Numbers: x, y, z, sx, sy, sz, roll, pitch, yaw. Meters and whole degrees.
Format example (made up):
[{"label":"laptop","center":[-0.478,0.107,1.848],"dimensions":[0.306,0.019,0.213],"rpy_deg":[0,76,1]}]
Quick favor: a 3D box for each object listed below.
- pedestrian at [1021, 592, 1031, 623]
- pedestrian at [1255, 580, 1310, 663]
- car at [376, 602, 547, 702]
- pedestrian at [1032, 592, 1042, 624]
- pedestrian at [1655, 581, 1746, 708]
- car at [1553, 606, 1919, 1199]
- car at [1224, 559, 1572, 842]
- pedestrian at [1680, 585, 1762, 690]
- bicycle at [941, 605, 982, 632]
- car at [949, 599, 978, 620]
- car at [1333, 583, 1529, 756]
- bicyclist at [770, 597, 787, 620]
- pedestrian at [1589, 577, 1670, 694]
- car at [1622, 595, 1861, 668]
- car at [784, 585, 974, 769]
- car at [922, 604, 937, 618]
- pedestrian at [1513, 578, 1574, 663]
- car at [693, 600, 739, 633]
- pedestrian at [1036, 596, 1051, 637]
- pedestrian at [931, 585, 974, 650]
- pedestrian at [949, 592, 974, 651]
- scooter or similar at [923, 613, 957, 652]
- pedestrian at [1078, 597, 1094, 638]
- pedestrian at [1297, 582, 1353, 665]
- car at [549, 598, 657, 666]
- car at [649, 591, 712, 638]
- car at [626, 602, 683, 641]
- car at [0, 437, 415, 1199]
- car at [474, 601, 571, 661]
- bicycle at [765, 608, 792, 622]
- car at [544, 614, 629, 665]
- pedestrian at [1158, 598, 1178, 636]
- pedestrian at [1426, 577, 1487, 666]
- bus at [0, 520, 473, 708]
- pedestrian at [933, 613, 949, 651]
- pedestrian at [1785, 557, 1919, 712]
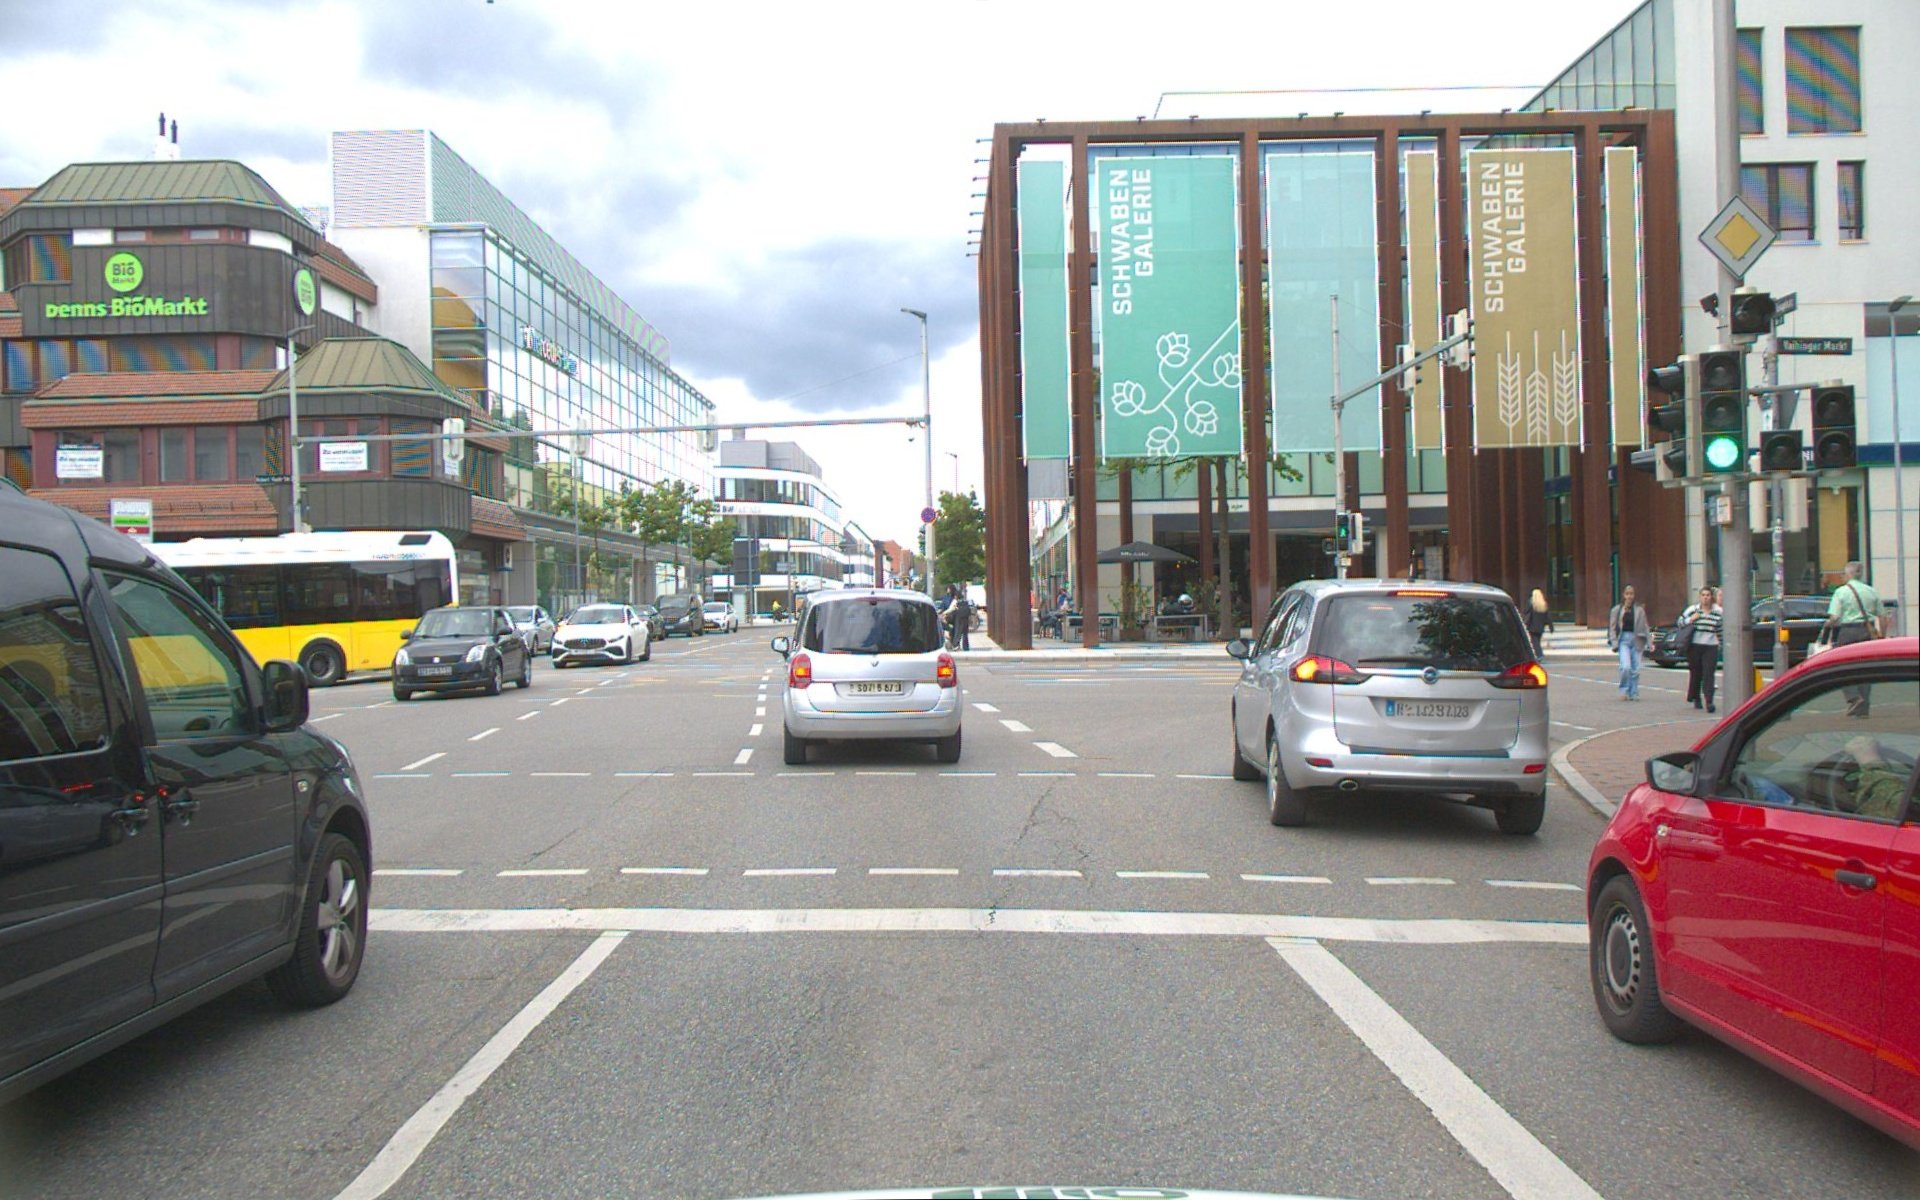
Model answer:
[{"label":"pedestrian","center":[3.341,0.388,83.535],"dimensions":[0.418,1.576,0.481],"rpy_deg":[-1,0,-2]},{"label":"pedestrian","center":[6.830,0.441,35.073],"dimensions":[0.861,1.711,1.119],"rpy_deg":[-1,0,-3]},{"label":"car","center":[-8.333,0.829,27.988],"dimensions":[1.708,1.484,3.817],"rpy_deg":[-2,0,0]},{"label":"pedestrian","center":[3.881,0.393,83.519],"dimensions":[0.418,1.576,0.481],"rpy_deg":[-1,0,-2]},{"label":"pedestrian","center":[9.945,0.584,22.234],"dimensions":[0.726,1.654,0.953],"rpy_deg":[-2,0,-4]},{"label":"car","center":[3.128,0.776,4.652],"dimensions":[1.593,1.473,3.642],"rpy_deg":[1,0,0]},{"label":"car","center":[3.060,0.618,12.452],"dimensions":[1.703,1.730,4.383],"rpy_deg":[1,0,4]},{"label":"pedestrian","center":[12.142,0.586,26.426],"dimensions":[0.804,1.623,1.039],"rpy_deg":[-1,0,0]},{"label":"bicycle","center":[0.070,0.731,64.569],"dimensions":[1.528,1.010,0.753],"rpy_deg":[-1,0,3]},{"label":"car","center":[0.219,0.599,108.665],"dimensions":[1.839,1.358,4.000],"rpy_deg":[1,0,0]},{"label":"car","center":[5.288,0.653,18.325],"dimensions":[1.812,1.637,4.863],"rpy_deg":[0,0,18]},{"label":"bicyclist","center":[-13.539,0.646,123.302],"dimensions":[0.994,1.689,0.924],"rpy_deg":[1,-1,-28]},{"label":"pedestrian","center":[9.753,0.502,24.127],"dimensions":[0.726,1.654,0.953],"rpy_deg":[-2,0,-4]},{"label":"car","center":[15.953,0.614,33.885],"dimensions":[4.089,1.428,1.800],"rpy_deg":[0,0,-3]},{"label":"car","center":[-0.790,0.667,16.220],"dimensions":[1.636,1.581,3.640],"rpy_deg":[1,0,-3]},{"label":"car","center":[-3.554,1.283,192.339],"dimensions":[1.626,1.491,4.000],"rpy_deg":[-2,0,0]},{"label":"pedestrian","center":[12.683,0.439,35.994],"dimensions":[0.861,1.798,1.119],"rpy_deg":[-1,0,-3]},{"label":"car","center":[-12.077,0.794,82.063],"dimensions":[1.626,1.491,4.000],"rpy_deg":[-2,0,0]},{"label":"pedestrian","center":[2.589,0.513,51.119],"dimensions":[0.438,1.241,0.607],"rpy_deg":[-1,0,2]},{"label":"pedestrian","center":[-0.198,0.453,42.869],"dimensions":[0.855,1.675,0.678],"rpy_deg":[-1,0,34]},{"label":"pedestrian","center":[0.030,0.535,41.600],"dimensions":[0.589,1.445,0.582],"rpy_deg":[-1,0,2]},{"label":"scooter or similar","center":[-0.505,0.819,42.301],"dimensions":[0.621,0.978,0.619],"rpy_deg":[-1,0,33]},{"label":"pedestrian","center":[3.888,0.526,51.054],"dimensions":[0.438,1.241,0.607],"rpy_deg":[-1,0,4]},{"label":"pedestrian","center":[7.769,0.495,35.276],"dimensions":[0.861,1.711,1.119],"rpy_deg":[-1,0,-3]},{"label":"car","center":[-8.620,0.742,40.240],"dimensions":[1.708,1.484,4.235],"rpy_deg":[-2,0,-1]},{"label":"car","center":[-12.459,0.617,74.096],"dimensions":[1.827,1.943,5.114],"rpy_deg":[-2,0,1]},{"label":"car","center":[-12.110,0.845,65.728],"dimensions":[1.668,1.468,3.998],"rpy_deg":[-1,0,-2]},{"label":"car","center":[-3.054,0.540,4.479],"dimensions":[1.673,1.852,4.571],"rpy_deg":[1,0,-1]},{"label":"car","center":[-12.570,0.859,47.764],"dimensions":[1.601,1.442,4.199],"rpy_deg":[-3,2,0]},{"label":"bicycle","center":[-13.545,1.114,123.308],"dimensions":[0.994,1.036,3.102],"rpy_deg":[1,-1,-27]},{"label":"car","center":[-12.820,1.330,57.051],"dimensions":[1.722,1.543,4.388],"rpy_deg":[-3,1,2]},{"label":"pedestrian","center":[6.958,0.569,55.360],"dimensions":[0.505,1.229,0.795],"rpy_deg":[-1,1,-2]},{"label":"pedestrian","center":[10.315,0.438,34.408],"dimensions":[0.861,1.798,1.119],"rpy_deg":[-1,0,-3]},{"label":"bus","center":[-16.453,0.193,34.681],"dimensions":[2.942,3.385,12.240],"rpy_deg":[-4,0,41]},{"label":"pedestrian","center":[-0.477,0.805,41.606],"dimensions":[0.354,0.940,0.454],"rpy_deg":[-1,0,2]},{"label":"pedestrian","center":[10.461,0.392,19.353],"dimensions":[1.034,1.745,1.110],"rpy_deg":[-1,0,-1]}]
